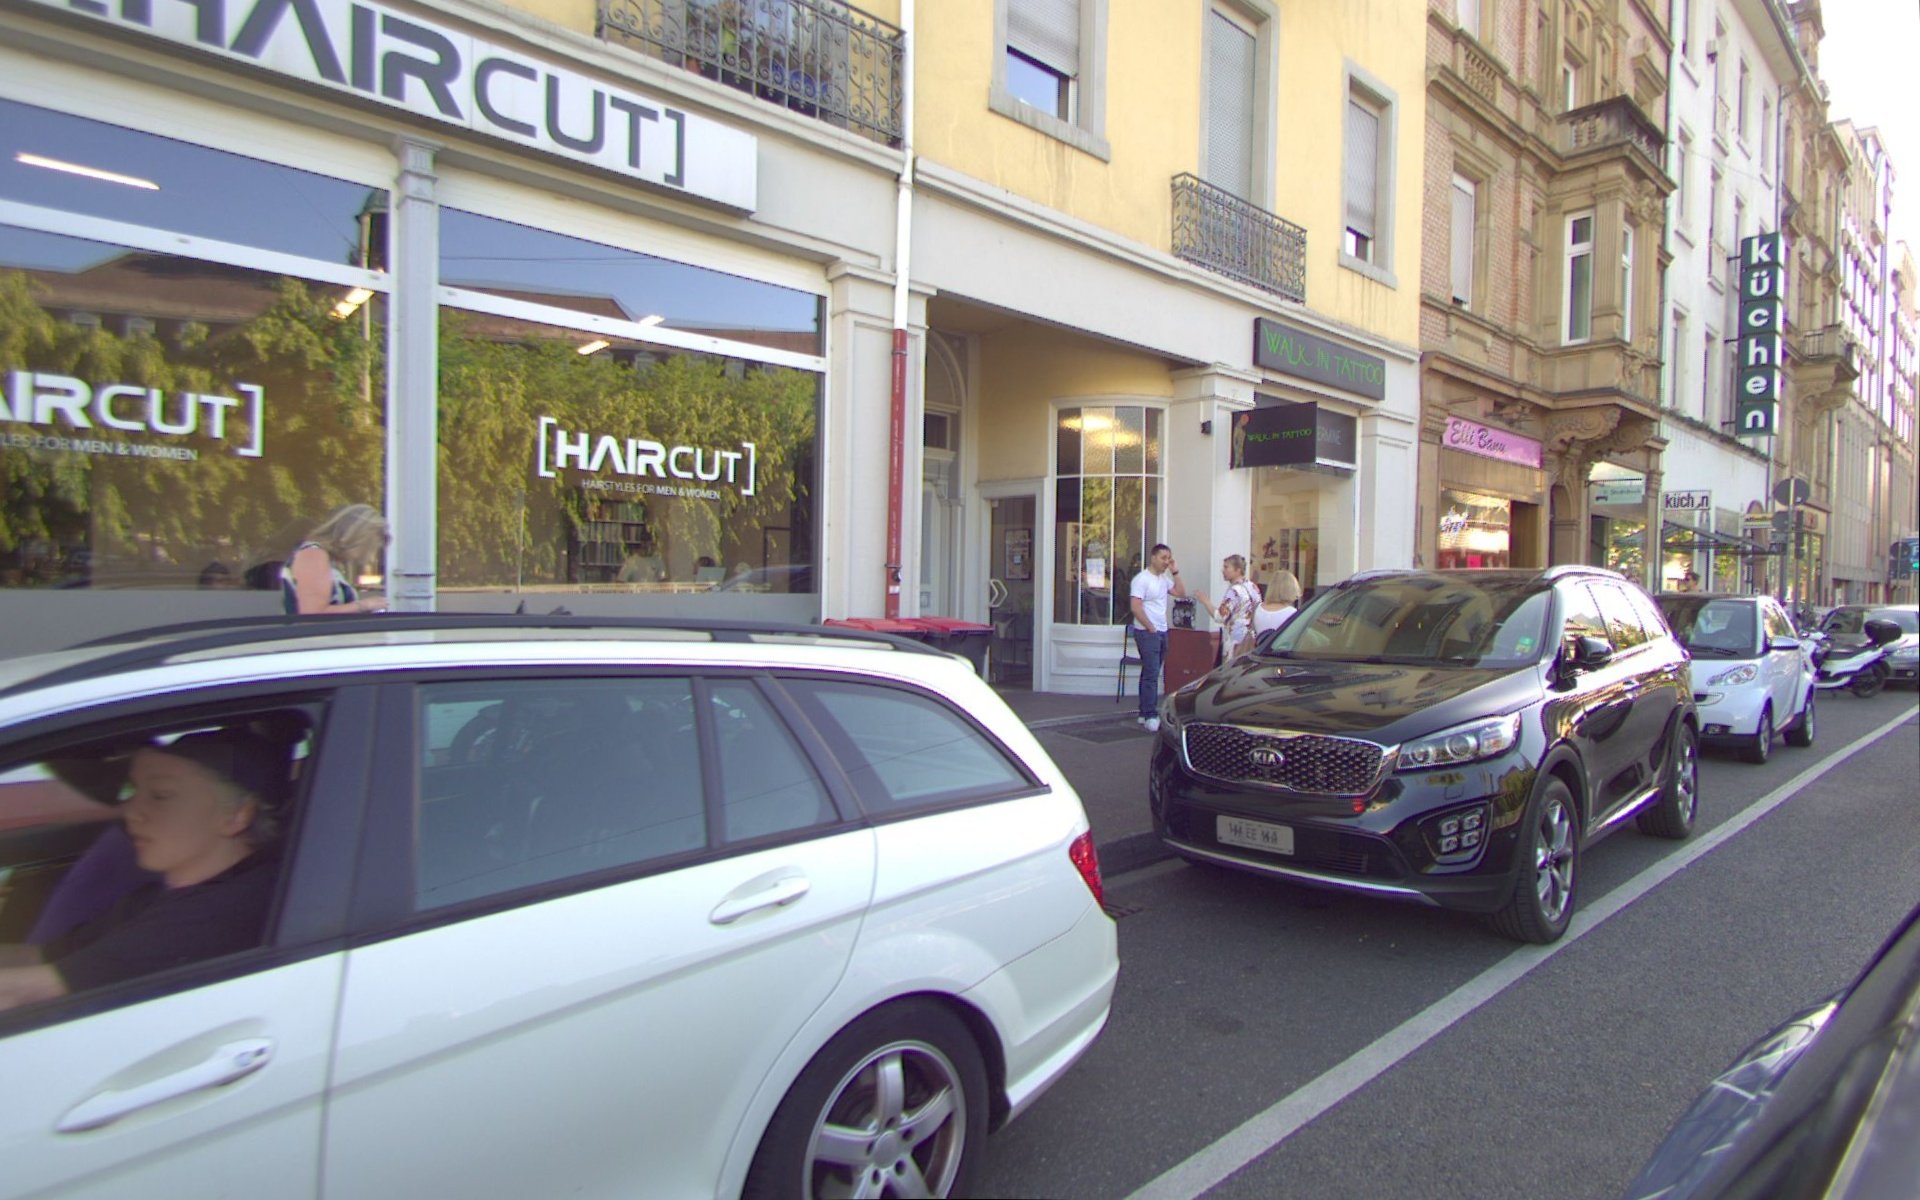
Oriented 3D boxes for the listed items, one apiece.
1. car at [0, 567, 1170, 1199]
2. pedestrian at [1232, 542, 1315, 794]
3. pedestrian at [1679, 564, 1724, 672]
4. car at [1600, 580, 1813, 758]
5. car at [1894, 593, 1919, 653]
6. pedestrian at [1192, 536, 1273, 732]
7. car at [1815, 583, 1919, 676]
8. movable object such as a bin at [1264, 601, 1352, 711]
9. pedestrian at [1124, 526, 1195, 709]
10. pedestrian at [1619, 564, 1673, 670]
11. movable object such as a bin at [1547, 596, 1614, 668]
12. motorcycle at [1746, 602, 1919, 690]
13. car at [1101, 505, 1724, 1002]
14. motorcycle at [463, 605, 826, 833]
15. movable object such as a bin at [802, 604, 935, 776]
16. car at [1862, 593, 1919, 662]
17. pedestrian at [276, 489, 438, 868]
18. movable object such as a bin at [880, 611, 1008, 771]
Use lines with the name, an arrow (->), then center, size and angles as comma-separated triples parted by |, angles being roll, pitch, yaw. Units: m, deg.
car -> -1.649, 0.680, 1.894 | 4.387, 1.465, 1.741 | 0, 1, -42
pedestrian -> 2.329, 0.480, 7.502 | 0.433, 1.785, 0.474 | 0, 0, 42
pedestrian -> 11.518, 0.270, 15.721 | 0.408, 1.653, 0.513 | 0, 0, -45
car -> 7.558, 0.586, 10.172 | 2.748, 1.537, 1.273 | 0, 1, -44
car -> 24.716, 0.554, 25.225 | 3.736, 1.435, 1.736 | 0, 1, -41
pedestrian -> 2.413, 0.291, 9.002 | 0.582, 1.681, 0.451 | 2, 1, 6
car -> 17.008, 0.475, 18.437 | 4.095, 1.537, 1.735 | 0, 1, -43
movable object such as a bin -> 3.672, 0.567, 10.688 | 0.608, 1.079, 0.606 | 0, 3, -41
pedestrian -> 1.877, 0.163, 9.535 | 0.513, 1.681, 0.339 | 1, 1, -20
pedestrian -> 10.985, 0.265, 16.211 | 0.455, 1.653, 0.617 | 0, 0, -43
movable object such as a bin -> 10.065, 0.506, 16.417 | 0.608, 1.084, 0.716 | 0, 3, -40
motorcycle -> 13.806, 0.701, 15.895 | 2.137, 1.295, 0.866 | 1, 0, 8
car -> 2.888, 0.522, 5.801 | 4.498, 1.758, 1.756 | 0, 1, -45
motorcycle -> -1.770, 0.602, 5.934 | 1.974, 1.105, 0.551 | 0, 2, -42
movable object such as a bin -> -0.632, 0.578, 6.923 | 0.608, 1.054, 0.662 | 1, 3, -38
car -> 21.418, 0.573, 22.399 | 3.736, 1.435, 1.736 | 0, 1, -41
pedestrian -> -2.891, 0.328, 4.835 | 0.523, 1.653, 0.697 | 0, 2, -42
movable object such as a bin -> -0.123, 0.623, 7.309 | 0.608, 1.037, 0.669 | 1, 3, -38
